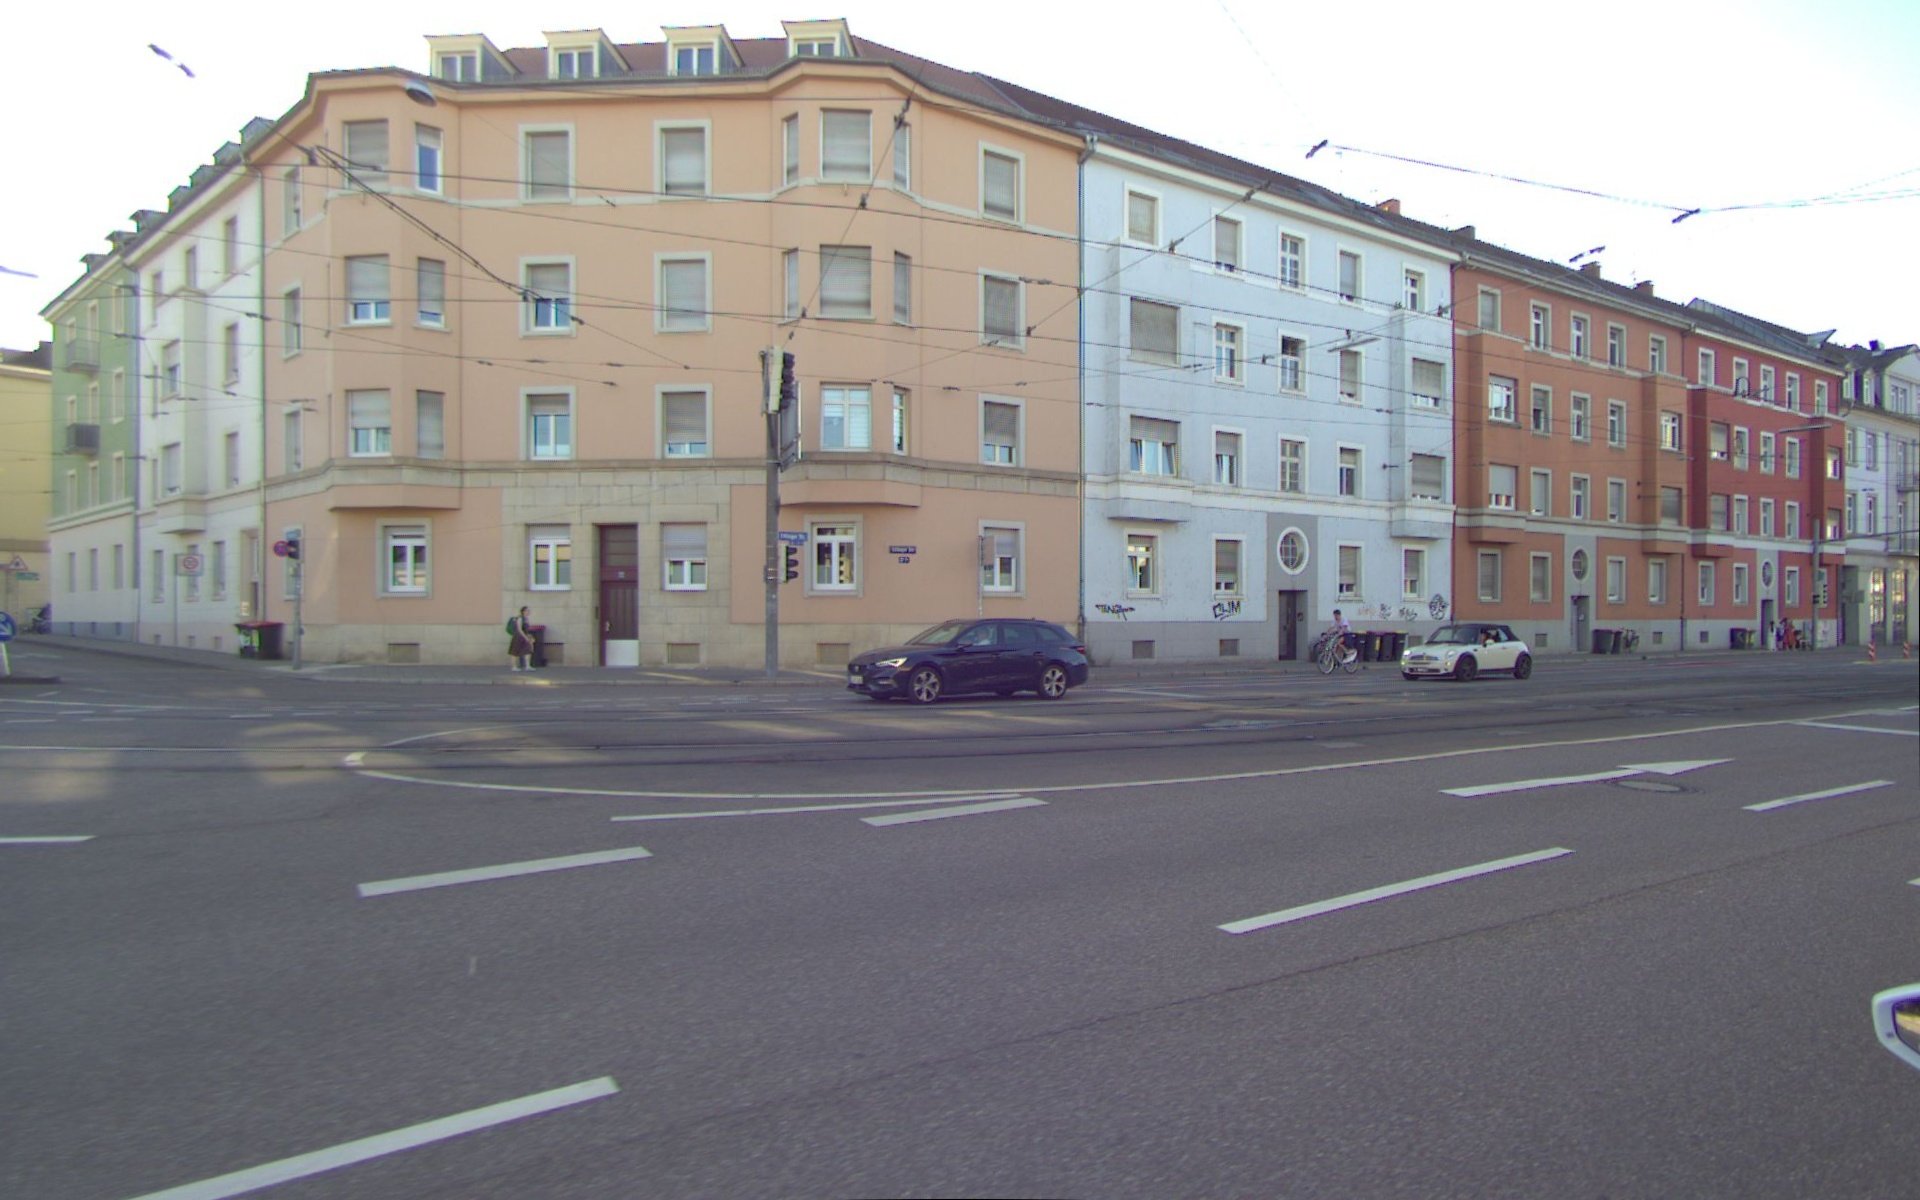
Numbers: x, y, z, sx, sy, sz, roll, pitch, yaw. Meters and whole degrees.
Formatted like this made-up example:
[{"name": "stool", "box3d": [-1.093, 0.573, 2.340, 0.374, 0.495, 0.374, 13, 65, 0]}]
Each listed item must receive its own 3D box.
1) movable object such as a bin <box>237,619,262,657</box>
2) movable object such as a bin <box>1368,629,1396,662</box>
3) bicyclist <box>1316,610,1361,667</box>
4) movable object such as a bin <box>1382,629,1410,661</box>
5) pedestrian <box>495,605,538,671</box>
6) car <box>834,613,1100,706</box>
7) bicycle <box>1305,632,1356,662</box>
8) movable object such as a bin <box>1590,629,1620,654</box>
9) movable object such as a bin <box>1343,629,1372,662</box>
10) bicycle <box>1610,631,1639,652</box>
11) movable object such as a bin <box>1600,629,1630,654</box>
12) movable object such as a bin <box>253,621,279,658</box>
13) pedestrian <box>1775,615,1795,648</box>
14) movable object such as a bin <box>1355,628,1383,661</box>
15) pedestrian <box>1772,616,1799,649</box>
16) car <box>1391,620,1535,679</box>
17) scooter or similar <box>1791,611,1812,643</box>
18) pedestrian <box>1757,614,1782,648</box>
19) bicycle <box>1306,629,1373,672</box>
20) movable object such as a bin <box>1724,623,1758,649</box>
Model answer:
[{"name": "movable object such as a bin", "box3d": [-20.625, 1.102, 29.170, 0.443, 1.080, 0.480, 0, 0, 38]}, {"name": "movable object such as a bin", "box3d": [14.833, 1.592, 35.333, 0.576, 1.121, 0.699, 1, 0, -31]}, {"name": "bicyclist", "box3d": [11.329, 1.138, 30.050, 1.113, 1.664, 0.743, 1, -1, -31]}, {"name": "movable object such as a bin", "box3d": [15.459, 1.585, 35.596, 0.576, 1.121, 0.699, 1, 0, -31]}, {"name": "pedestrian", "box3d": [-10.830, 0.914, 24.542, 0.706, 1.584, 0.677, 0, 0, 4]}, {"name": "car", "box3d": [0.175, 0.984, 17.961, 4.447, 1.474, 1.912, 1, -1, -31]}, {"name": "bicycle", "box3d": [12.546, 1.579, 33.975, 1.855, 0.993, 0.602, 1, 0, -31]}, {"name": "movable object such as a bin", "box3d": [27.383, 1.764, 42.651, 0.803, 1.054, 0.837, 1, -1, -35]}, {"name": "movable object such as a bin", "box3d": [13.724, 1.563, 34.699, 0.641, 1.121, 0.699, 1, 0, -31]}, {"name": "bicycle", "box3d": [29.236, 1.811, 44.195, 1.583, 0.902, 0.333, 1, -1, -27]}, {"name": "movable object such as a bin", "box3d": [28.133, 1.791, 43.149, 0.803, 1.054, 0.837, 1, -1, -35]}, {"name": "movable object such as a bin", "box3d": [-19.815, 1.115, 28.677, 0.443, 1.046, 0.480, 0, 0, 38]}, {"name": "pedestrian", "box3d": [42.238, 1.607, 51.422, 0.642, 1.655, 0.794, 0, 0, 27]}, {"name": "movable object such as a bin", "box3d": [14.275, 1.530, 35.044, 0.576, 1.121, 0.699, 1, 0, -30]}, {"name": "pedestrian", "box3d": [41.641, 1.626, 50.669, 0.815, 1.655, 0.795, 0, 0, 22]}, {"name": "car", "box3d": [12.786, 1.197, 25.509, 3.495, 1.393, 1.717, 0, -1, -32]}, {"name": "scooter or similar", "box3d": [42.809, 1.364, 51.107, 0.642, 1.655, 0.794, 0, 0, 27]}, {"name": "pedestrian", "box3d": [40.679, 1.553, 50.481, 0.643, 1.655, 0.793, 0, 0, -12]}, {"name": "bicycle", "box3d": [11.368, 1.493, 30.074, 2.127, 1.206, 0.743, 1, -1, -31]}, {"name": "movable object such as a bin", "box3d": [38.594, 1.753, 49.615, 1.216, 1.266, 0.868, 0, -1, -24]}]
